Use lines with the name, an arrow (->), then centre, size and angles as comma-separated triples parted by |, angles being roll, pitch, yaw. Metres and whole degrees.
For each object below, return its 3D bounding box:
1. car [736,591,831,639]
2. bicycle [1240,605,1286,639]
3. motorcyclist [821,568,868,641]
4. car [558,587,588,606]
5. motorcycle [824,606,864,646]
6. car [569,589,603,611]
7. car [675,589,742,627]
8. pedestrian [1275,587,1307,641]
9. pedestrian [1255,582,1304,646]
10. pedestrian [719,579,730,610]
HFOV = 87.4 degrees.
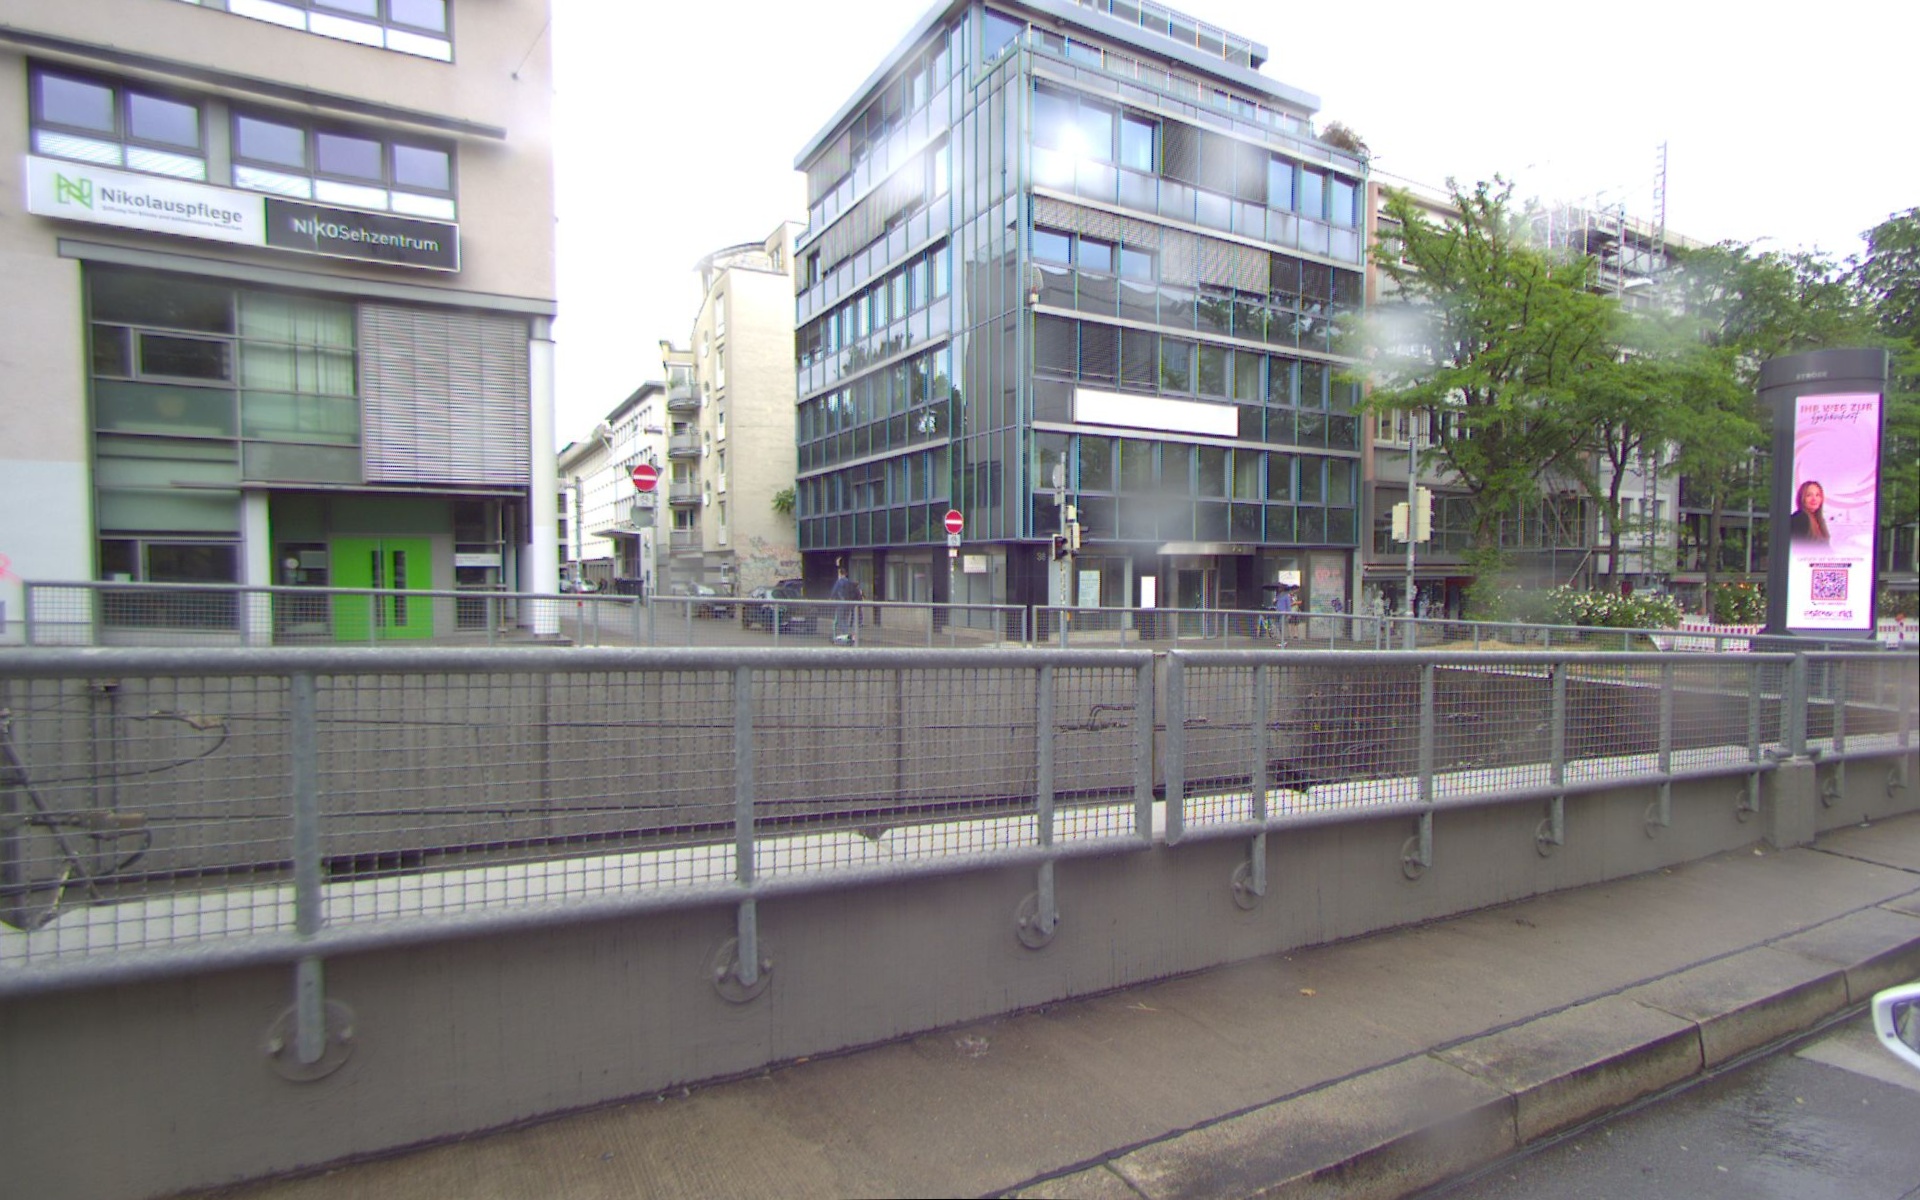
car -> -6.240, 0.478, 35.172 | 1.977, 1.578, 3.966 | 1, 0, -31
bicycle -> 9.870, 0.714, 32.722 | 1.544, 1.100, 0.444 | 1, 1, -27
motorcyclist -> -3.013, 0.107, 26.175 | 0.850, 1.832, 1.007 | 1, 2, -29
car -> -33.984, -0.294, 88.141 | 1.777, 1.578, 3.967 | 1, 0, -30
motorcycle -> -3.024, 0.666, 26.181 | 0.696, 0.984, 0.977 | 1, 2, -29
car -> -28.275, -0.024, 75.931 | 1.777, 1.578, 3.967 | 1, 0, -30
car -> -11.105, 0.340, 44.110 | 1.777, 1.578, 3.966 | 1, 0, -31
pedestrian -> 10.951, 0.453, 33.229 | 0.688, 1.765, 0.691 | 1, 2, -35
pedestrian -> 9.575, 0.409, 30.080 | 1.047, 1.863, 0.853 | 1, 2, -30
pedestrian -> -12.485, -0.296, 53.258 | 0.443, 1.664, 0.326 | 1, 2, -35
